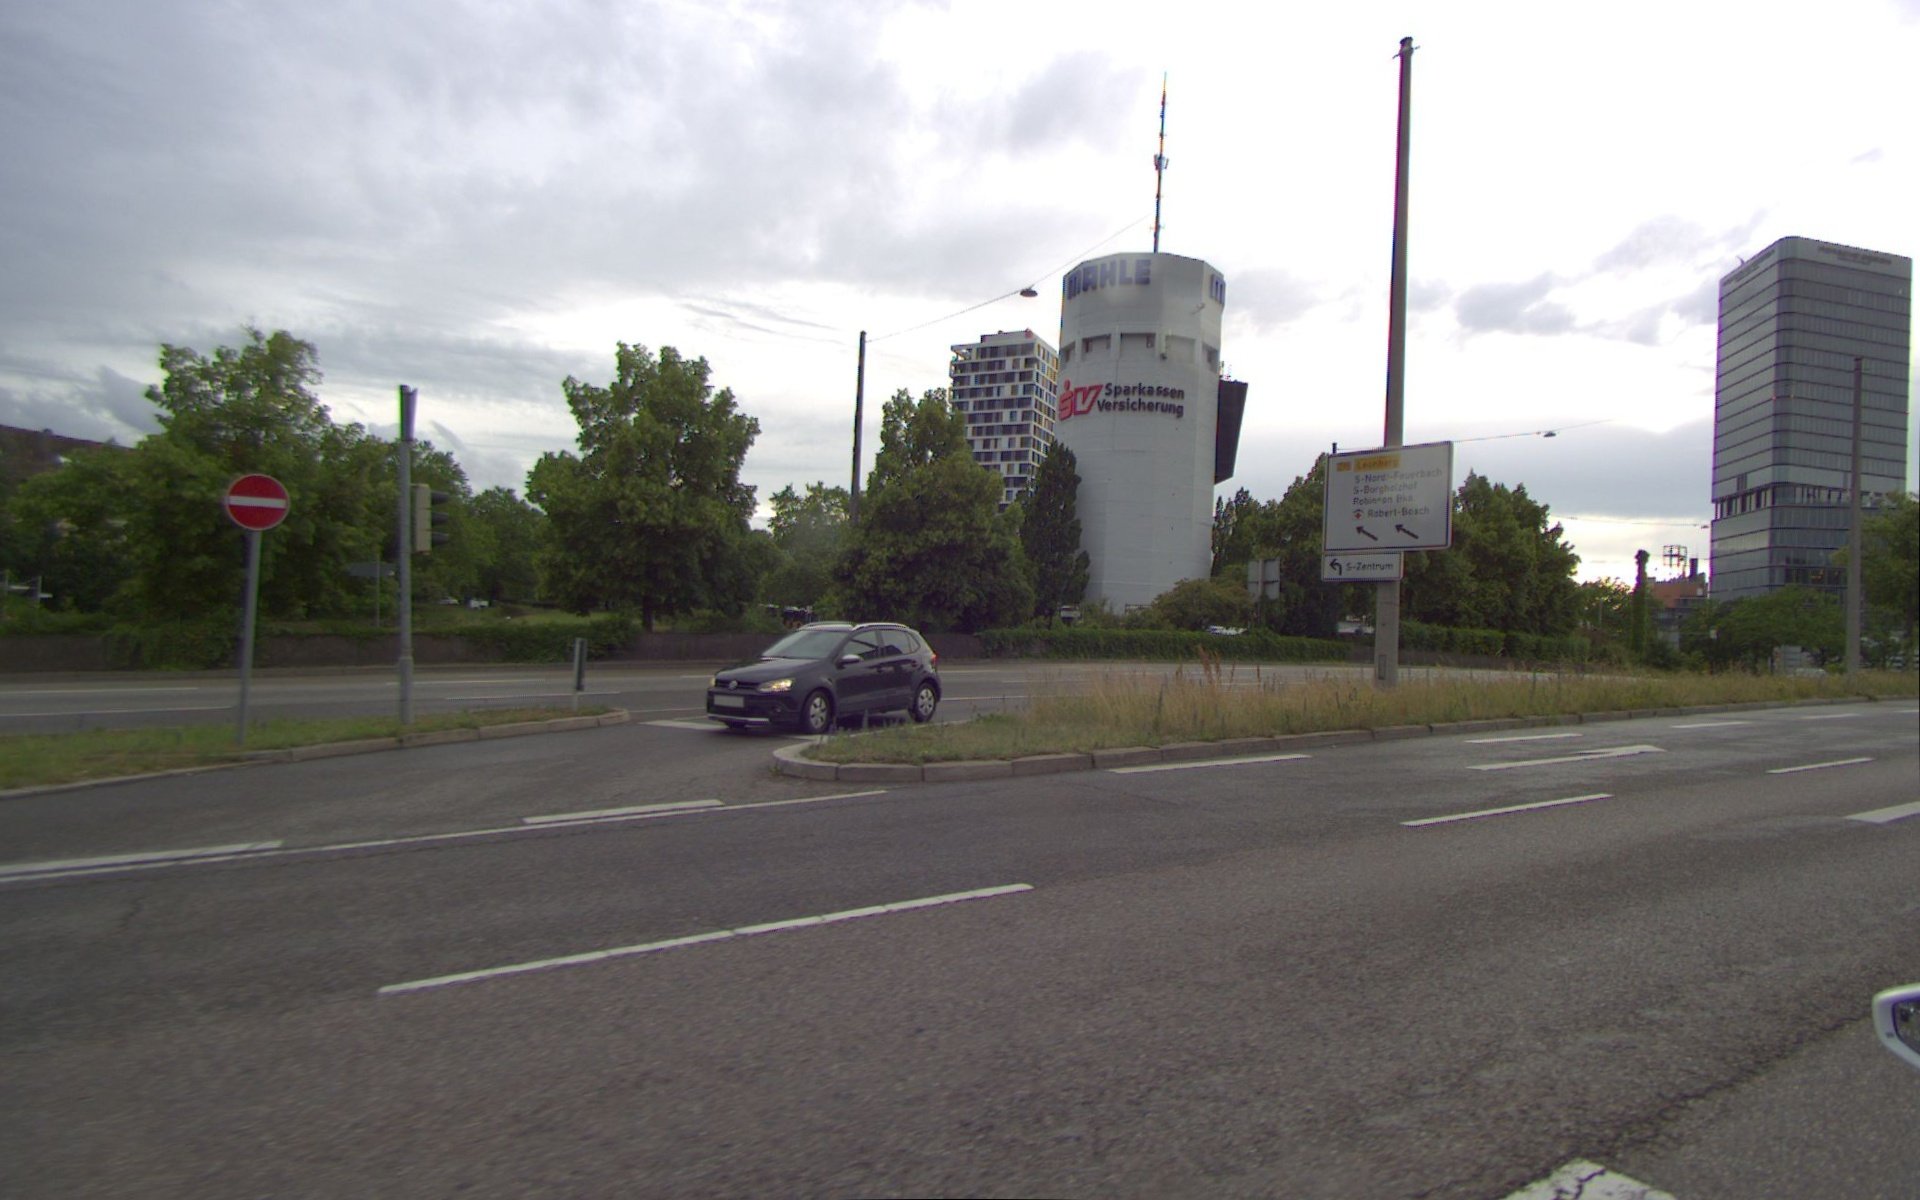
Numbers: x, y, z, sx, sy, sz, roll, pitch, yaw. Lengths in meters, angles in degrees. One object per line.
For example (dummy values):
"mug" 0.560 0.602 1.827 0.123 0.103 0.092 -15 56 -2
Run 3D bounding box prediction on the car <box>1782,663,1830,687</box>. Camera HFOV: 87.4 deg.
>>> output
"car" 57.548 5.052 68.332 3.639 1.379 1.584 1 2 -35

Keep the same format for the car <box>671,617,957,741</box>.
"car" -1.946 1.033 14.483 1.864 1.527 3.987 -1 -2 35

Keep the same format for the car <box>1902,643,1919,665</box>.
"car" 74.685 4.213 77.574 4.560 1.680 1.881 3 -2 -35
